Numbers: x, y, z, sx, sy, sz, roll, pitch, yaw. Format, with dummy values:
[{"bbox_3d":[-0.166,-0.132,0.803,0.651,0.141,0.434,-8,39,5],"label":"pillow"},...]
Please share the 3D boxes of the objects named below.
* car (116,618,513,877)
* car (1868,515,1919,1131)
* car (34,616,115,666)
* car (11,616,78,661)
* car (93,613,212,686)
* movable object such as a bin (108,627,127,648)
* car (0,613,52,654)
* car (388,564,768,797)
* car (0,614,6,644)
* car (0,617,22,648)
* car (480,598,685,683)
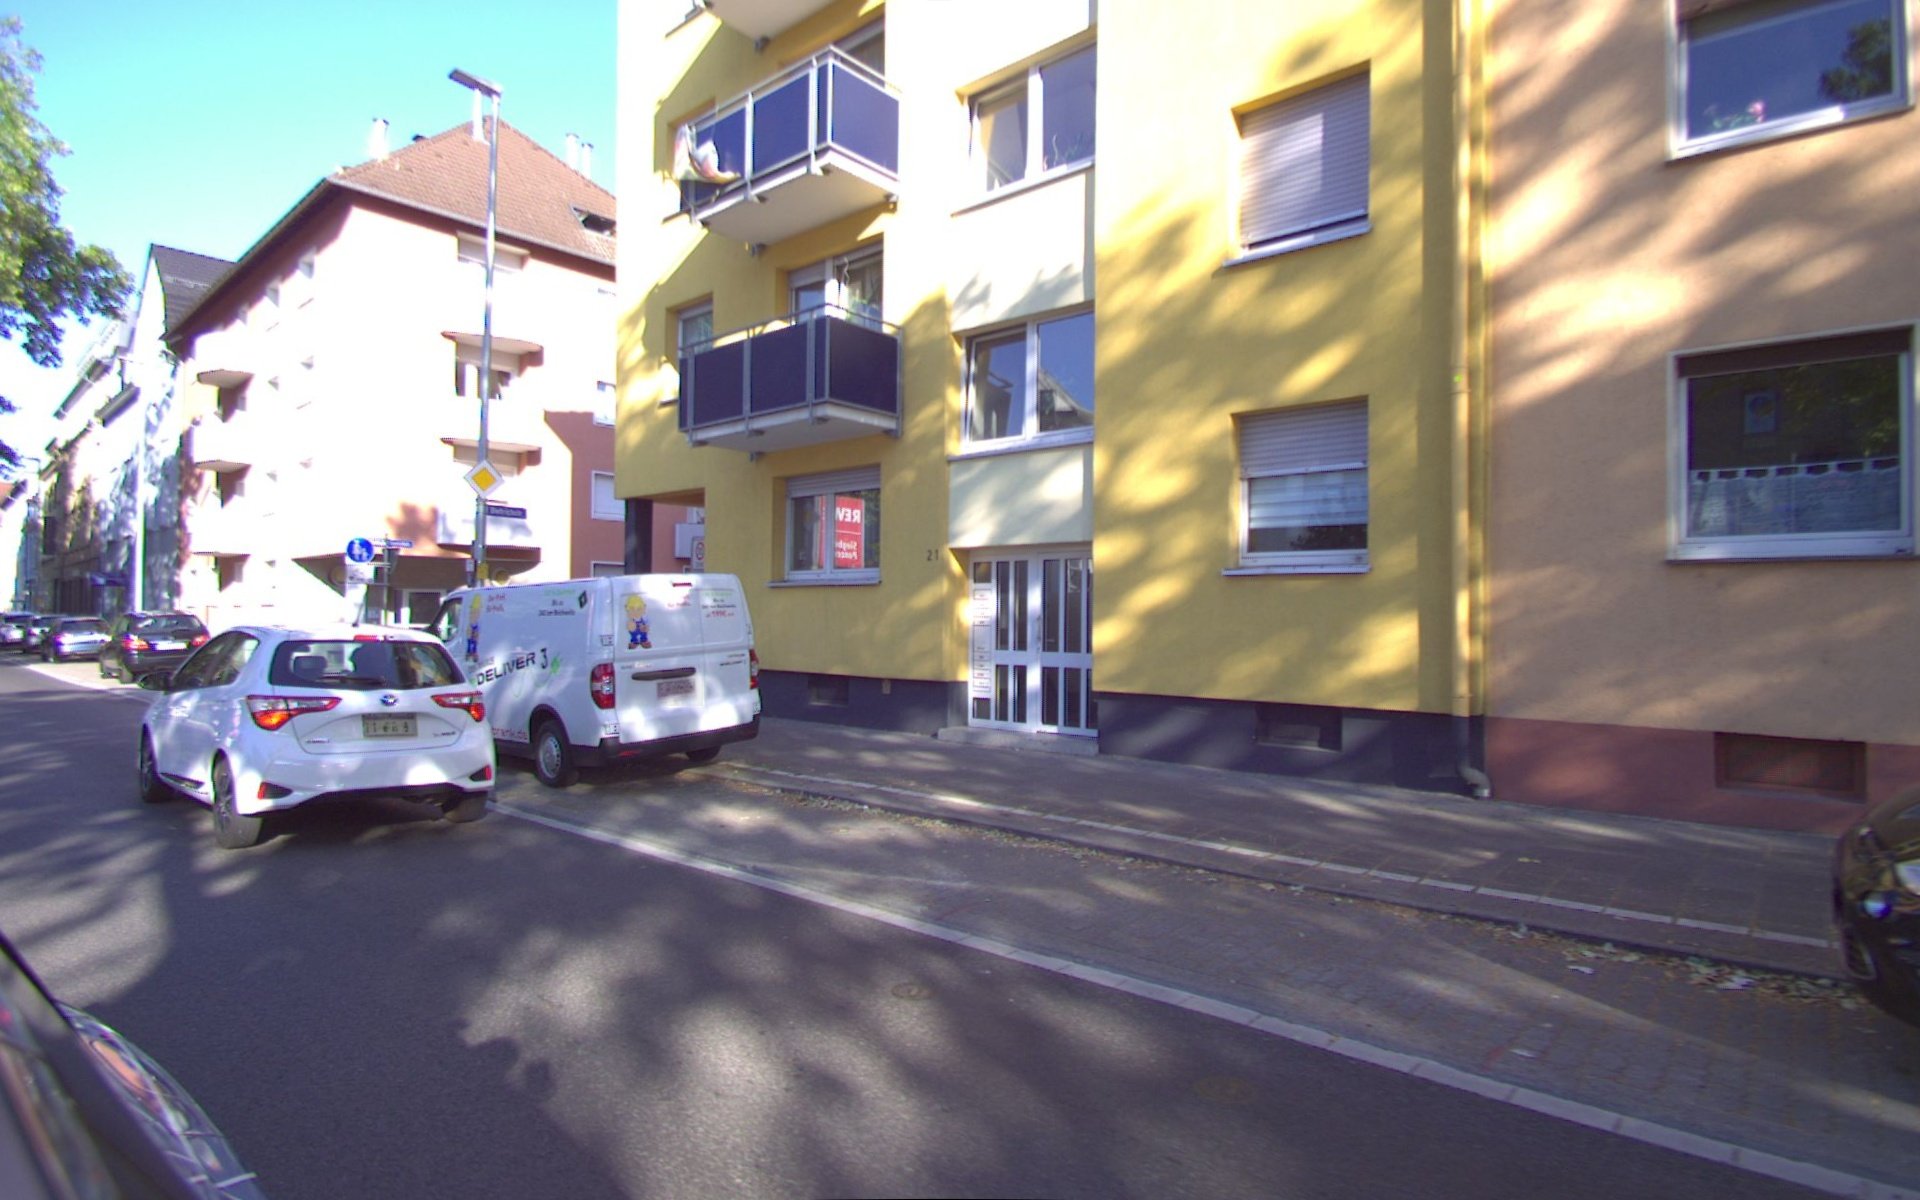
[{"bbox_3d":[-5.210,0.914,7.960,3.932,1.535,1.622,-1,-1,42],"label":"car"},{"bbox_3d":[5.051,0.616,2.157,4.546,1.801,1.727,-1,0,41],"label":"car"},{"bbox_3d":[-28.754,1.297,32.830,3.601,1.497,1.659,-1,0,44],"label":"car"},{"bbox_3d":[-36.329,1.481,40.117,3.985,1.654,1.659,-1,0,43],"label":"car"},{"bbox_3d":[-19.133,1.106,23.926,4.021,1.535,1.659,-1,0,44],"label":"car"},{"bbox_3d":[-37.948,1.681,45.584,0.669,0.954,0.551,-1,-2,43],"label":"movable object such as a bin"},{"bbox_3d":[-40.789,1.417,43.787,4.578,1.654,1.887,-1,0,44],"label":"car"},{"bbox_3d":[-4.293,0.698,10.785,5.209,1.921,1.715,-1,-1,44],"label":"car"},{"bbox_3d":[-53.469,1.580,55.344,4.200,1.597,1.659,-1,0,44],"label":"car"},{"bbox_3d":[-48.745,1.627,51.186,3.872,1.507,1.659,-1,0,44],"label":"car"},{"bbox_3d":[-9.829,1.037,26.643,1.920,2.029,4.694,-1,-2,43],"label":"car"}]
